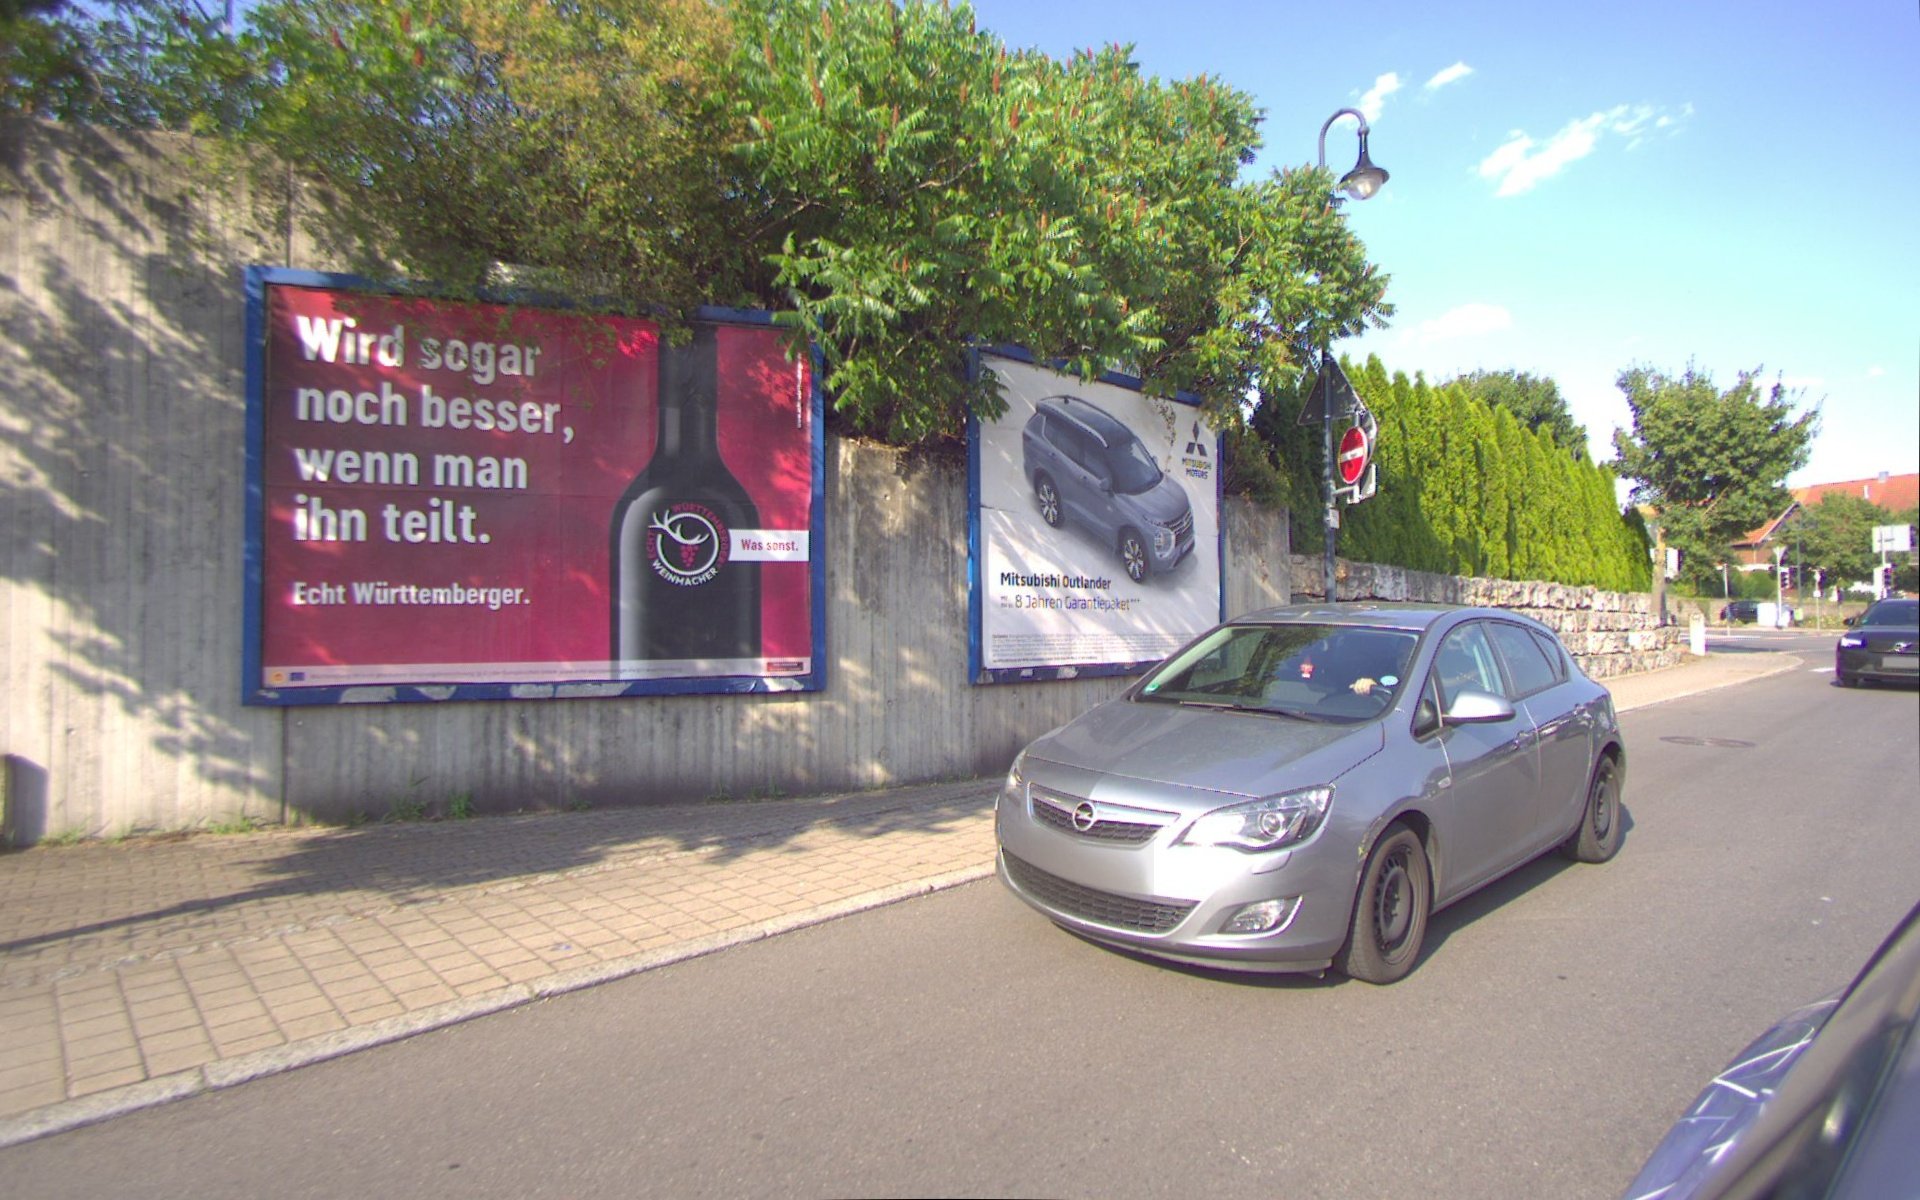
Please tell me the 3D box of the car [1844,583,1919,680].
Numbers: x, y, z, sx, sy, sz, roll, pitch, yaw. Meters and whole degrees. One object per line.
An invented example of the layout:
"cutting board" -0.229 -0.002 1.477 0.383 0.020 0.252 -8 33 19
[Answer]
"car" 17.642 0.556 18.316 3.982 1.626 1.792 1 -1 -38

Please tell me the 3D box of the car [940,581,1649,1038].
"car" 1.980 0.674 5.196 4.072 1.440 1.650 1 0 -42

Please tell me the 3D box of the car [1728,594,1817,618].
"car" 51.721 0.386 64.516 1.644 1.475 4.086 1 -1 -25

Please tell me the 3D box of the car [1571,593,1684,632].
"car" 28.428 0.500 43.168 1.572 1.561 3.791 0 1 -43

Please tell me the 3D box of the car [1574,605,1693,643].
"car" 30.931 1.088 46.564 1.831 1.646 4.242 1 -1 -43
